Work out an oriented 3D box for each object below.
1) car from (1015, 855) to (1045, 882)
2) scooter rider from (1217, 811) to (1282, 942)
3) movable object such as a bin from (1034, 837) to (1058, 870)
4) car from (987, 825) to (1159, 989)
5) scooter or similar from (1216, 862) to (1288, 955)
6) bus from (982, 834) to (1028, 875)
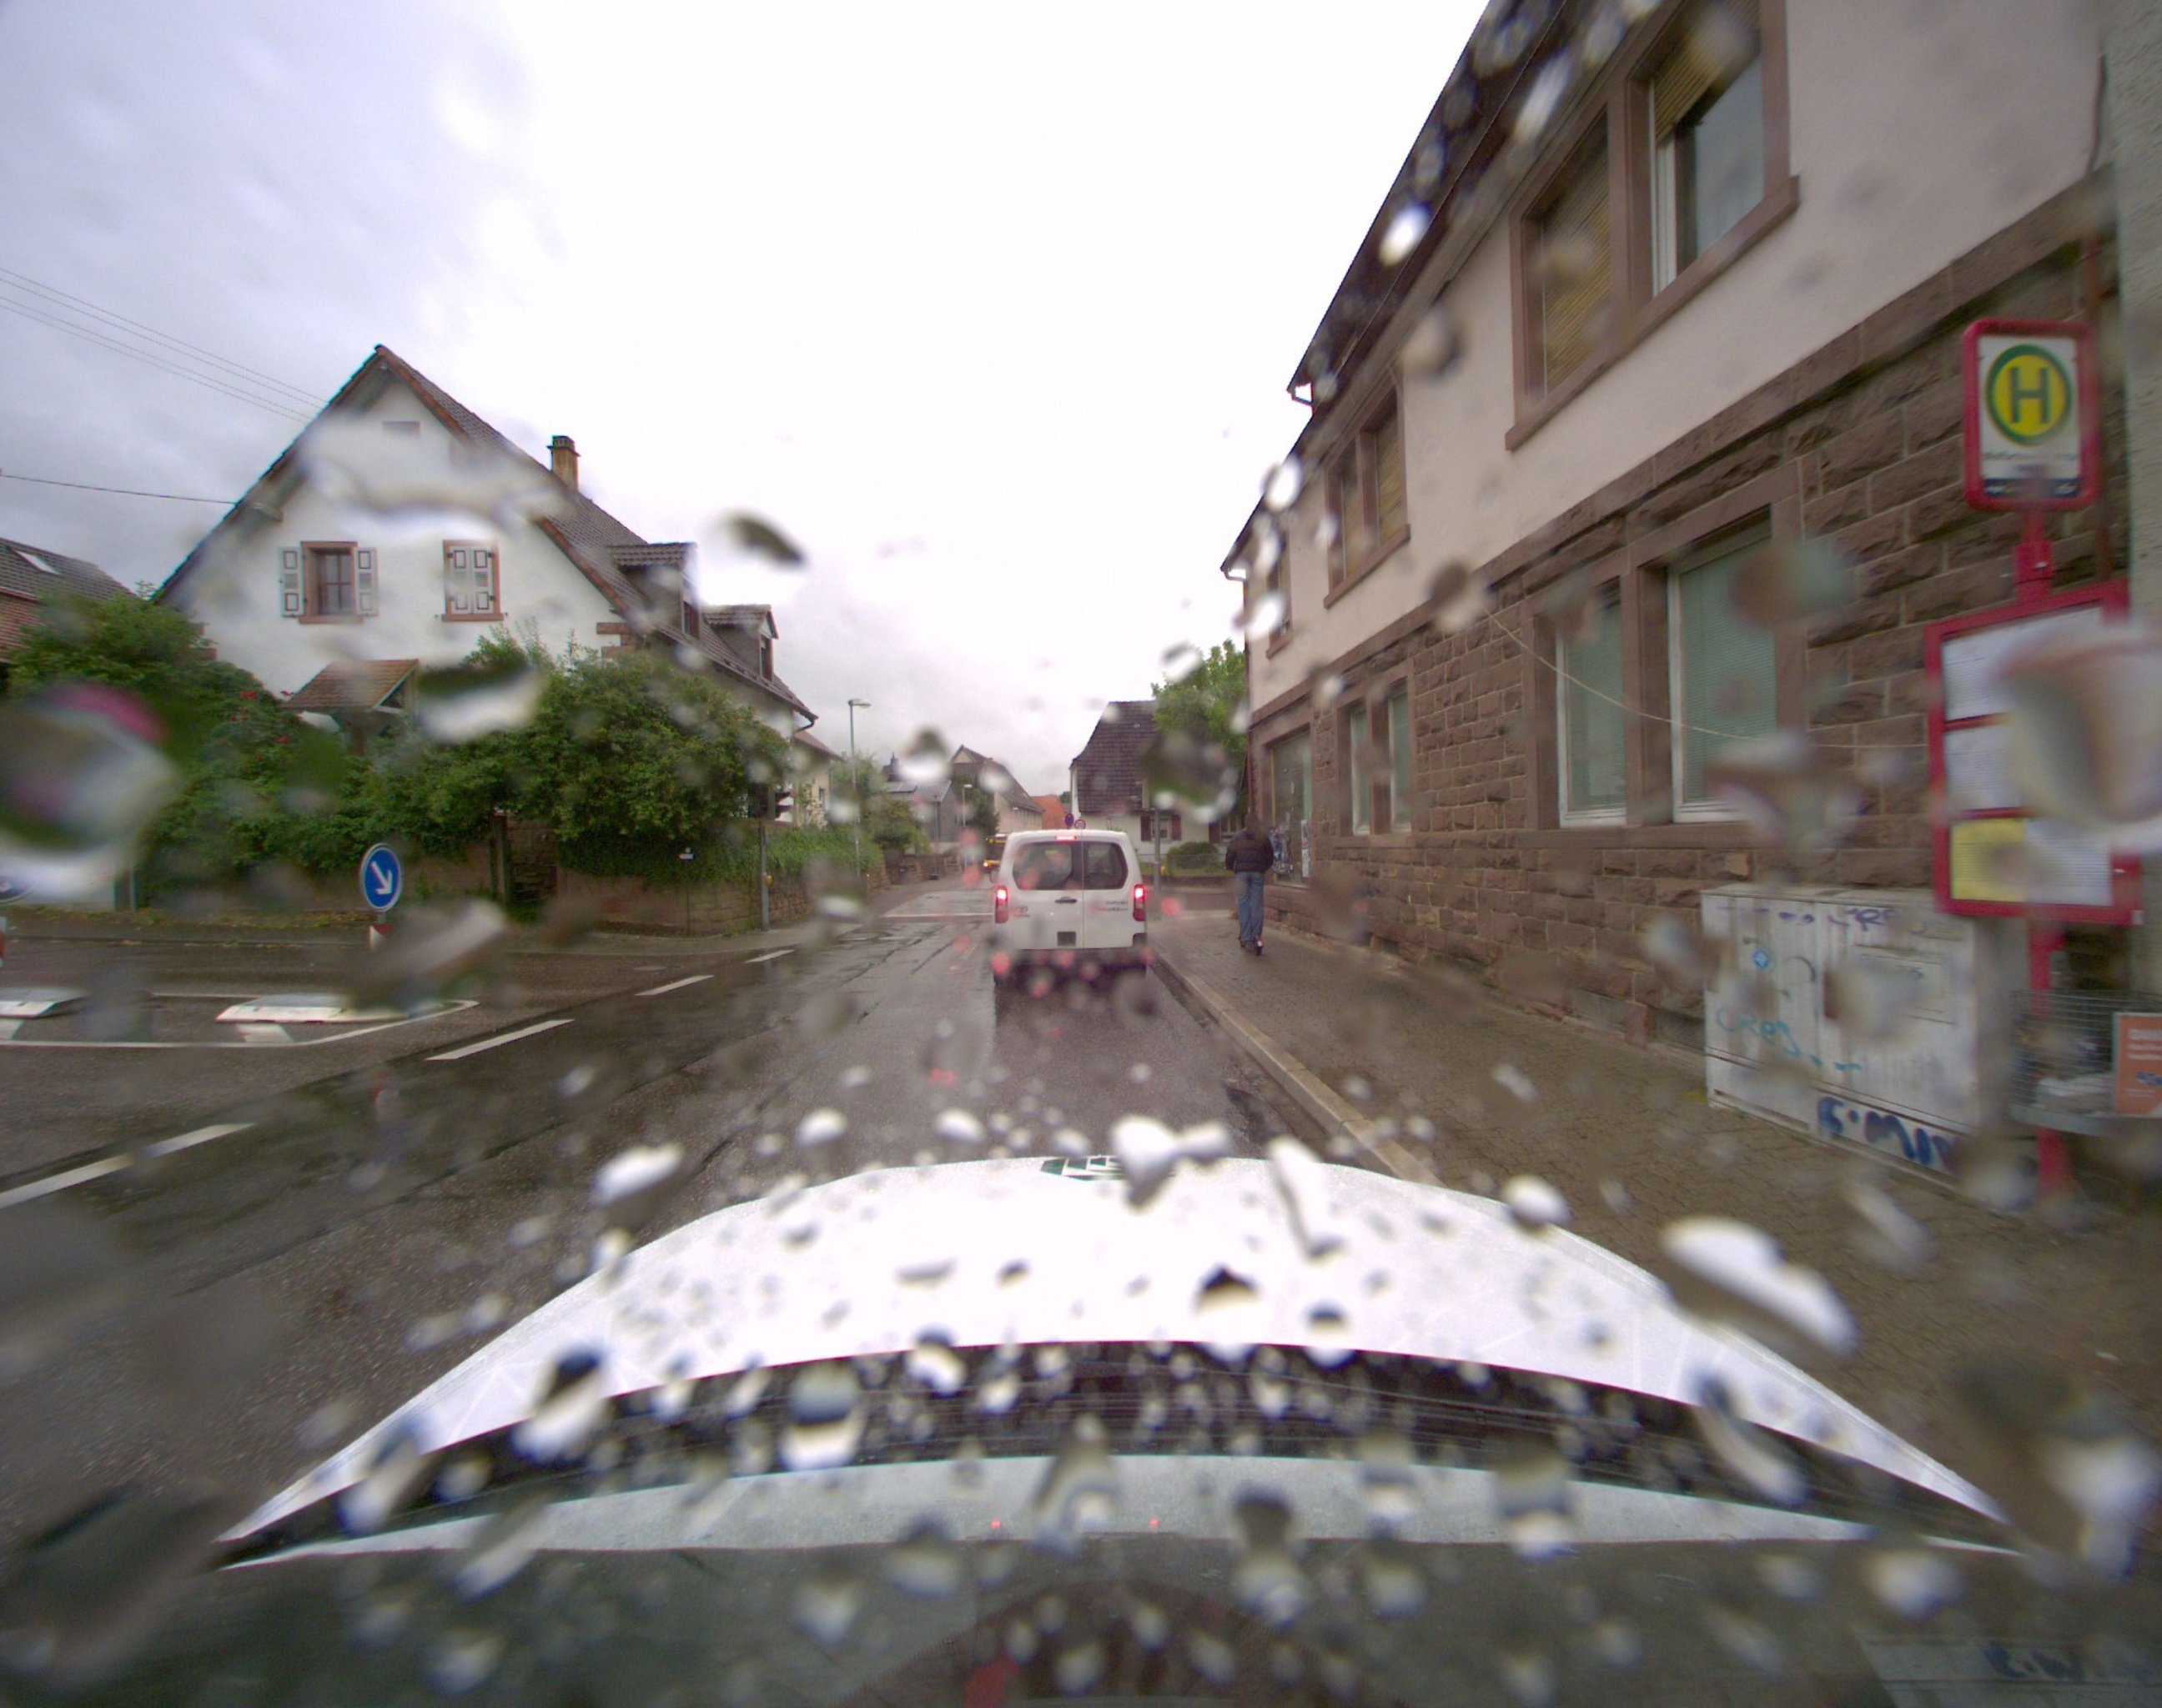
[{"bbox_3d":[-3.163,0.896,51.043,1.805,1.596,3.752,0,0,-2],"label":"car"},{"bbox_3d":[2.288,0.304,11.116,0.729,1.733,0.517,-1,-1,-3],"label":"scooter rider"},{"bbox_3d":[-2.820,-0.055,66.714,1.721,2.653,3.974,0,0,0],"label":"movable object such as a bin"},{"bbox_3d":[-0.166,0.567,10.848,1.890,1.794,3.810,0,0,-3],"label":"car"},{"bbox_3d":[2.284,0.700,11.014,0.619,1.127,1.400,-1,1,-3],"label":"scooter or similar"},{"bbox_3d":[-6.054,-0.128,66.798,2.641,2.999,12.192,-1,2,0],"label":"bus"}]
